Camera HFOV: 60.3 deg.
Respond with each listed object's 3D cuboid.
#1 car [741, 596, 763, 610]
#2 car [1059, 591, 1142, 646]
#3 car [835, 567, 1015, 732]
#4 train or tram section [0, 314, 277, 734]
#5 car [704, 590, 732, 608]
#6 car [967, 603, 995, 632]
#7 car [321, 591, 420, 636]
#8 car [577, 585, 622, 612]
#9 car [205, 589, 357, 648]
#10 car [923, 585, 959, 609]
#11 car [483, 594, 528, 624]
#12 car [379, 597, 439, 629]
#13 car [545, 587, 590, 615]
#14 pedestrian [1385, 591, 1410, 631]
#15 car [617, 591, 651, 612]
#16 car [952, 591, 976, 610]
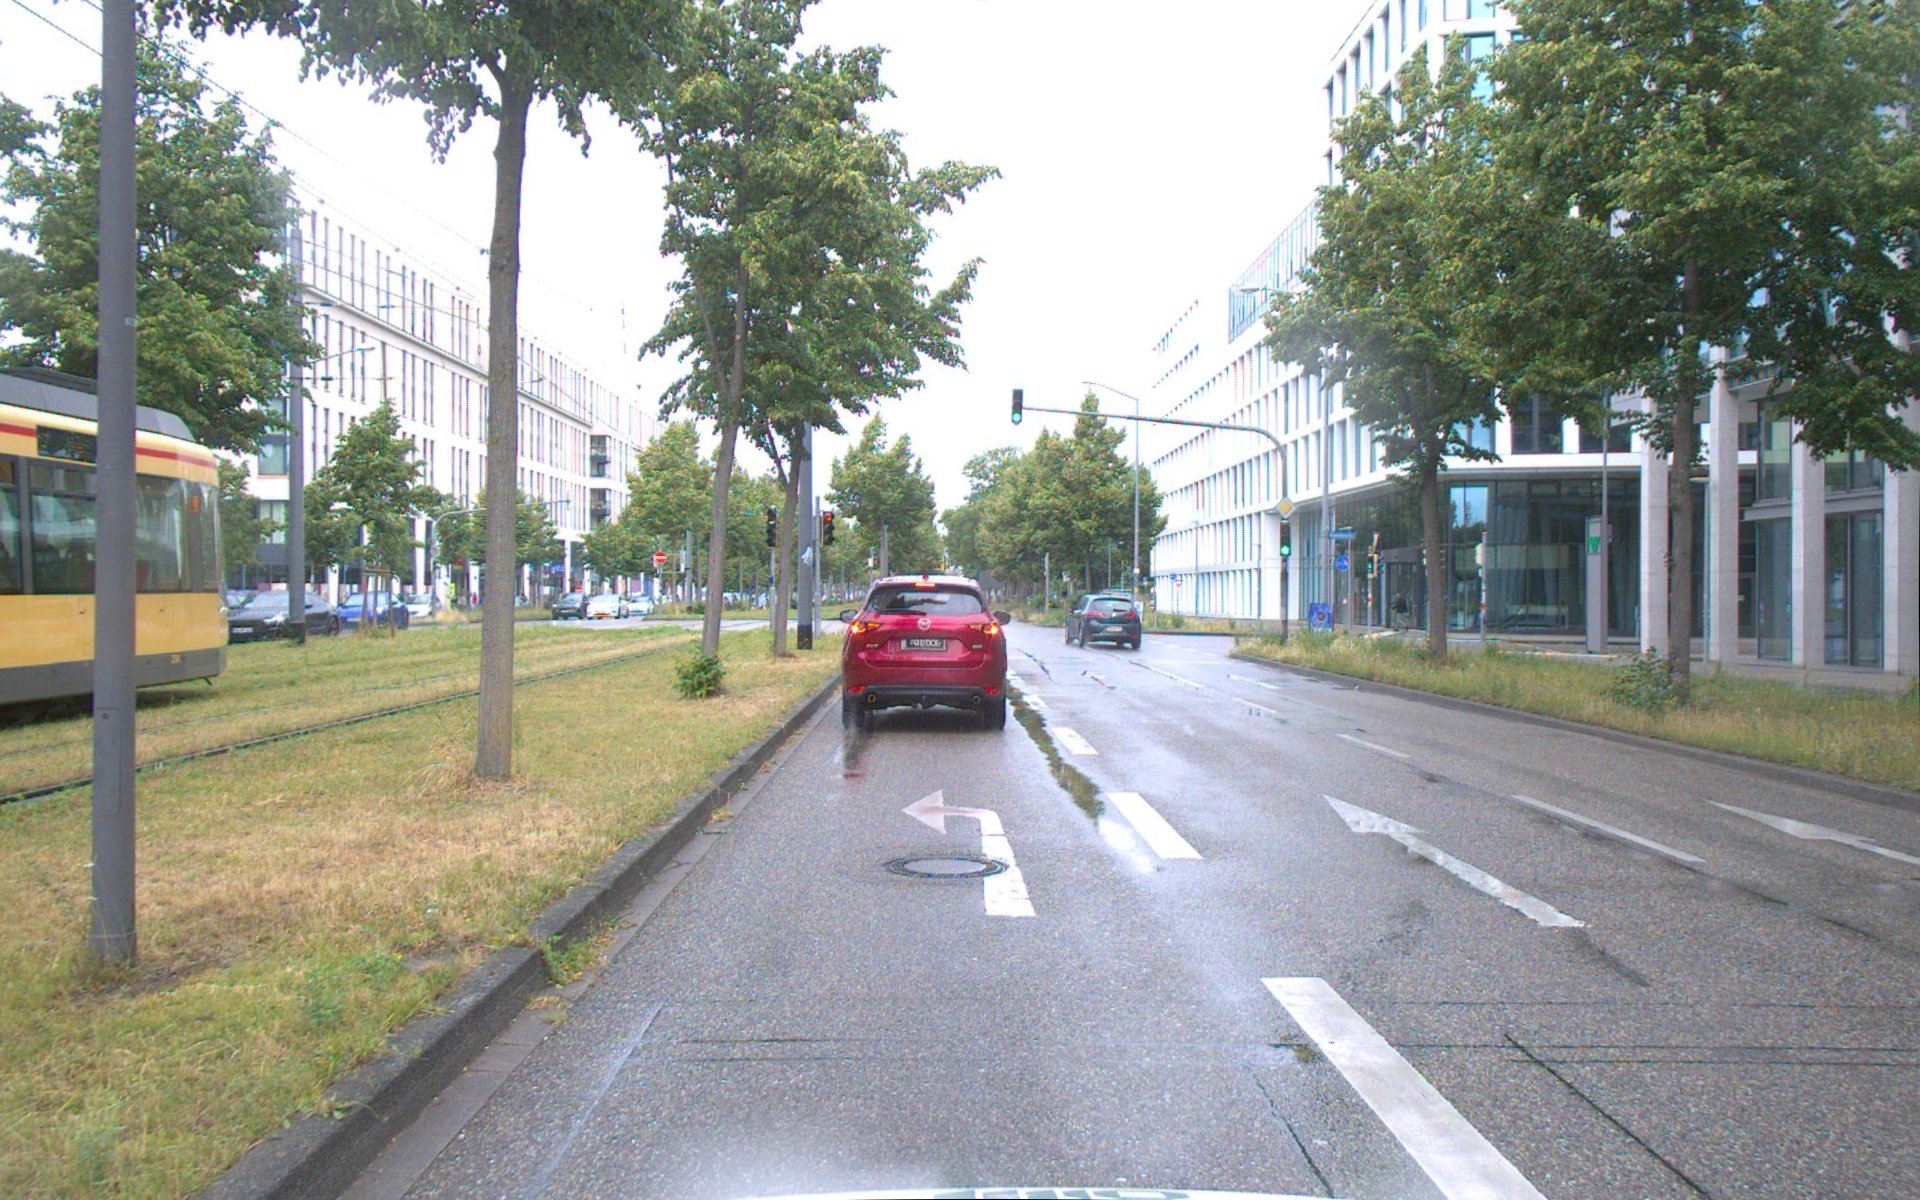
[{"bbox_3d":[-22.839,0.362,181.970,1.953,1.510,4.444,1,0,-1],"label":"car"},{"bbox_3d":[3.949,0.499,46.904,1.710,1.490,3.777,1,0,-5],"label":"car"},{"bbox_3d":[-0.414,0.505,19.229,1.860,1.706,3.999,1,0,-2],"label":"car"},{"bbox_3d":[-10.034,-0.676,13.256,3.065,3.723,15.061,1,0,-1],"label":"train or tram section"},{"bbox_3d":[-21.086,-0.092,144.433,1.953,1.510,4.443,1,0,-2],"label":"car"},{"bbox_3d":[1.506,1.277,122.565,1.953,2.049,3.999,0,0,-1],"label":"car"},{"bbox_3d":[-21.265,0.449,59.864,1.953,1.548,5.009,0,0,-2],"label":"car"},{"bbox_3d":[-21.043,-0.090,96.727,1.954,1.510,4.441,1,0,-5],"label":"car"},{"bbox_3d":[-17.264,0.441,42.326,1.953,1.404,4.871,1,0,-1],"label":"car"},{"bbox_3d":[-1.214,-0.206,104.091,1.929,1.462,4.548,2,0,-5],"label":"car"},{"bbox_3d":[-29.574,0.570,107.720,1.953,1.870,3.999,1,0,-2],"label":"car"},{"bbox_3d":[-28.988,0.665,87.139,1.953,1.646,3.998,0,0,-3],"label":"car"},{"bbox_3d":[-24.090,0.051,101.723,1.953,1.646,3.998,0,0,-3],"label":"car"},{"bbox_3d":[19.171,0.479,72.472,0.673,1.737,0.773,1,0,-39],"label":"pedestrian"},{"bbox_3d":[-24.476,0.115,124.136,1.954,1.510,4.442,0,0,-4],"label":"car"},{"bbox_3d":[0.296,0.062,141.334,1.953,1.558,3.999,0,0,-1],"label":"car"}]
